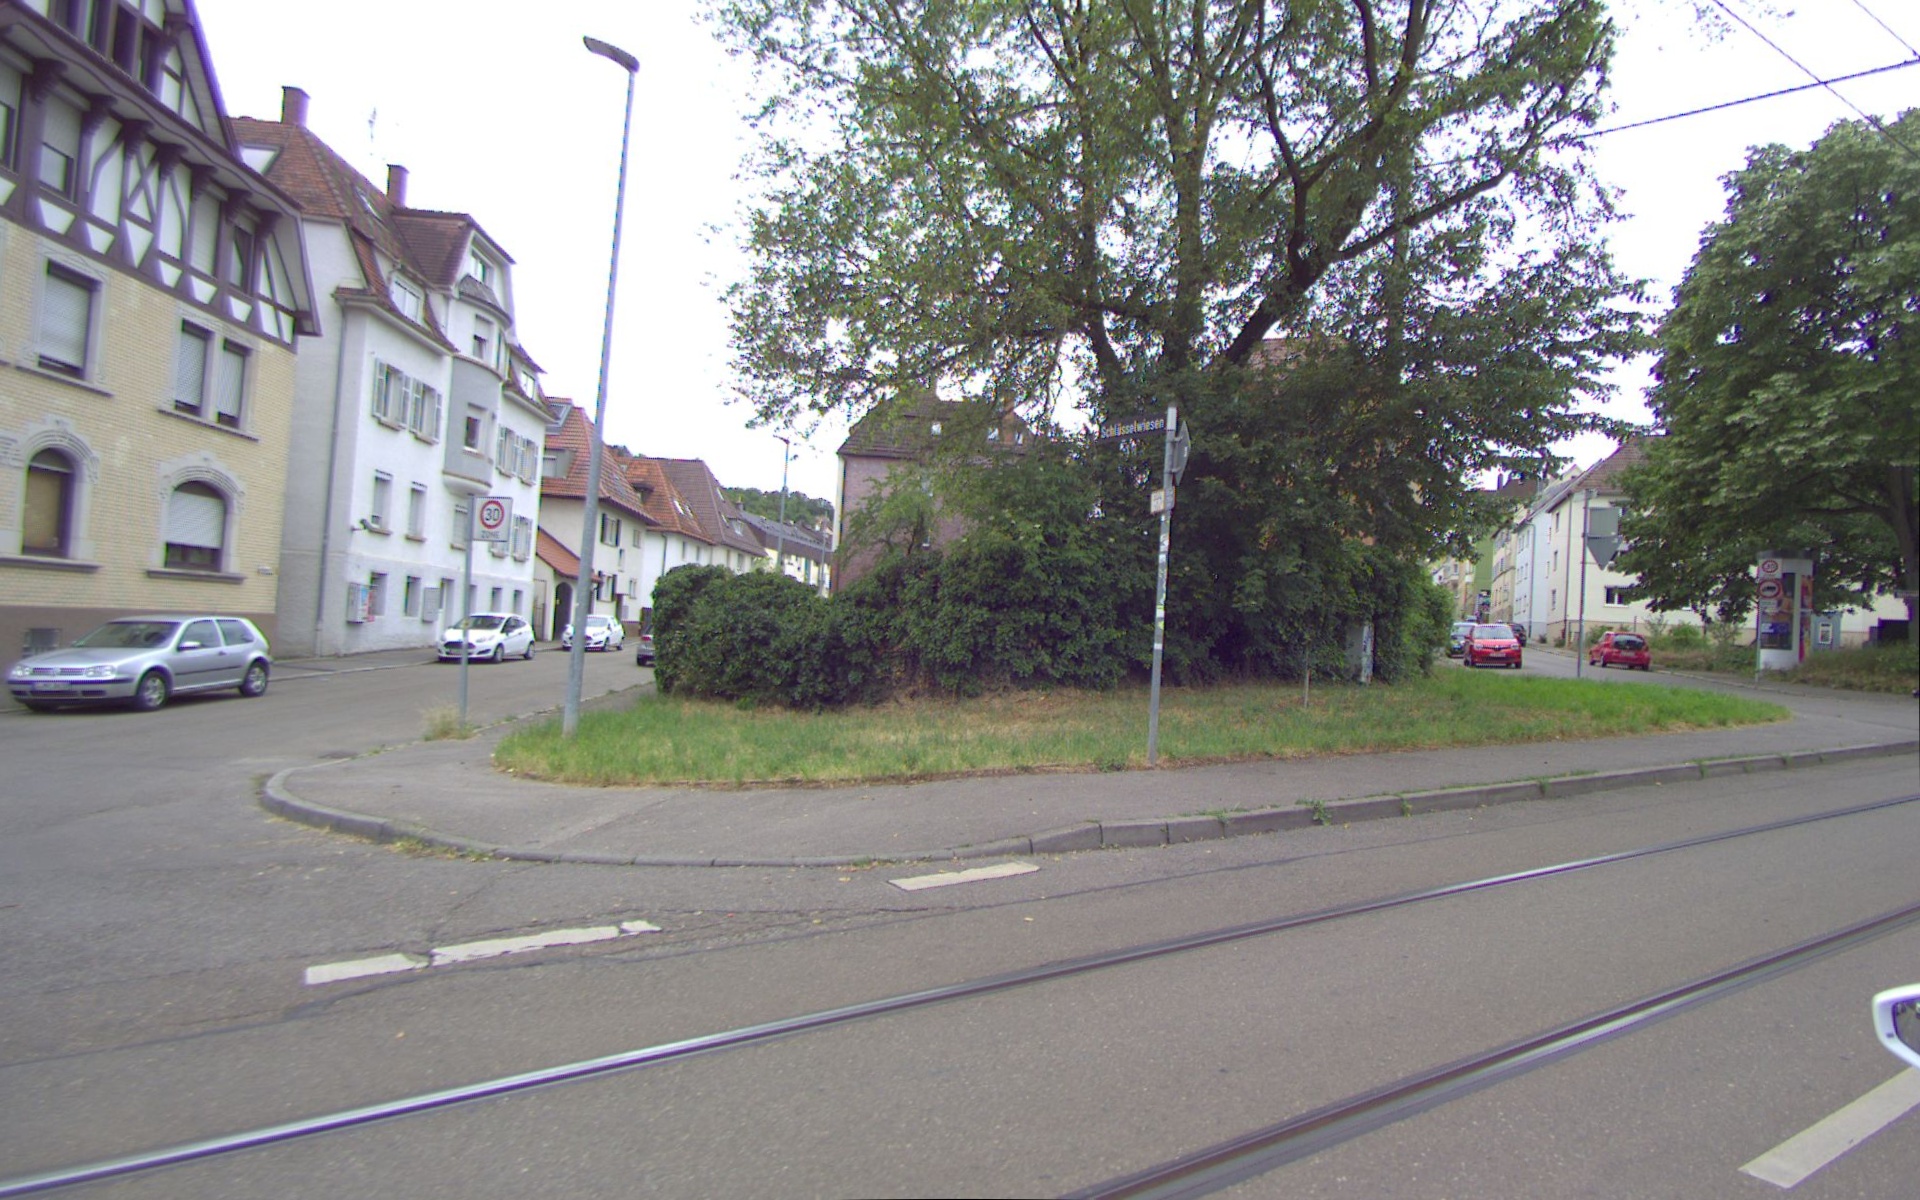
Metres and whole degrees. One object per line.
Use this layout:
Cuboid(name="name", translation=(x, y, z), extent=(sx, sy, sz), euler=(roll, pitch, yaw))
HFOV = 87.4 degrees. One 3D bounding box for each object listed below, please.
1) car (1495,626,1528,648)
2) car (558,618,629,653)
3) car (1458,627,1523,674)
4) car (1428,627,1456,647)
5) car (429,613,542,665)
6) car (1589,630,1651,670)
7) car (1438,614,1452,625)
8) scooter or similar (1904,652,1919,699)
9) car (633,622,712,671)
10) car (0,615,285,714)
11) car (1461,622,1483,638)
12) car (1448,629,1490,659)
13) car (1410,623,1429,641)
Cuboid(name="car", translation=(39.268, 2.628, 71.544), extent=(1.644, 1.434, 3.729), euler=(2, 0, 23))
Cuboid(name="car", translation=(-14.557, 1.396, 40.062), extent=(1.594, 1.325, 3.739), euler=(1, -2, -3))
Cuboid(name="car", translation=(19.256, 1.786, 36.572), extent=(1.716, 1.497, 3.612), euler=(2, 0, 23))
Cuboid(name="car", translation=(32.422, 2.484, 67.621), extent=(1.429, 1.252, 3.420), euler=(2, 0, 23))
Cuboid(name="car", translation=(-14.097, 1.150, 30.108), extent=(1.662, 1.421, 3.857), euler=(1, -2, -3))
Cuboid(name="car", translation=(26.834, 2.000, 40.928), extent=(1.622, 1.434, 3.727), euler=(2, 0, 26))
Cuboid(name="car", translation=(70.015, 2.772, 145.061), extent=(1.644, 1.434, 3.729), euler=(2, 0, 23))
Cuboid(name="scooter or similar", translation=(25.250, 1.948, 26.309), extent=(1.698, 1.161, 0.310), euler=(0, 1, -31))
Cuboid(name="car", translation=(-9.434, 1.512, 33.205), extent=(1.594, 1.420, 3.626), euler=(5, -2, -2))
Cuboid(name="car", translation=(-13.030, 0.978, 16.325), extent=(1.663, 1.396, 4.046), euler=(1, -2, -6))
Cuboid(name="car", translation=(51.292, 2.963, 100.602), extent=(1.644, 1.434, 3.729), euler=(2, 0, 23))
Cuboid(name="car", translation=(23.740, 2.024, 46.895), extent=(1.429, 1.252, 3.779), euler=(2, 0, 23))
Cuboid(name="car", translation=(43.078, 3.018, 94.187), extent=(1.429, 1.498, 3.781), euler=(2, -2, 22))
